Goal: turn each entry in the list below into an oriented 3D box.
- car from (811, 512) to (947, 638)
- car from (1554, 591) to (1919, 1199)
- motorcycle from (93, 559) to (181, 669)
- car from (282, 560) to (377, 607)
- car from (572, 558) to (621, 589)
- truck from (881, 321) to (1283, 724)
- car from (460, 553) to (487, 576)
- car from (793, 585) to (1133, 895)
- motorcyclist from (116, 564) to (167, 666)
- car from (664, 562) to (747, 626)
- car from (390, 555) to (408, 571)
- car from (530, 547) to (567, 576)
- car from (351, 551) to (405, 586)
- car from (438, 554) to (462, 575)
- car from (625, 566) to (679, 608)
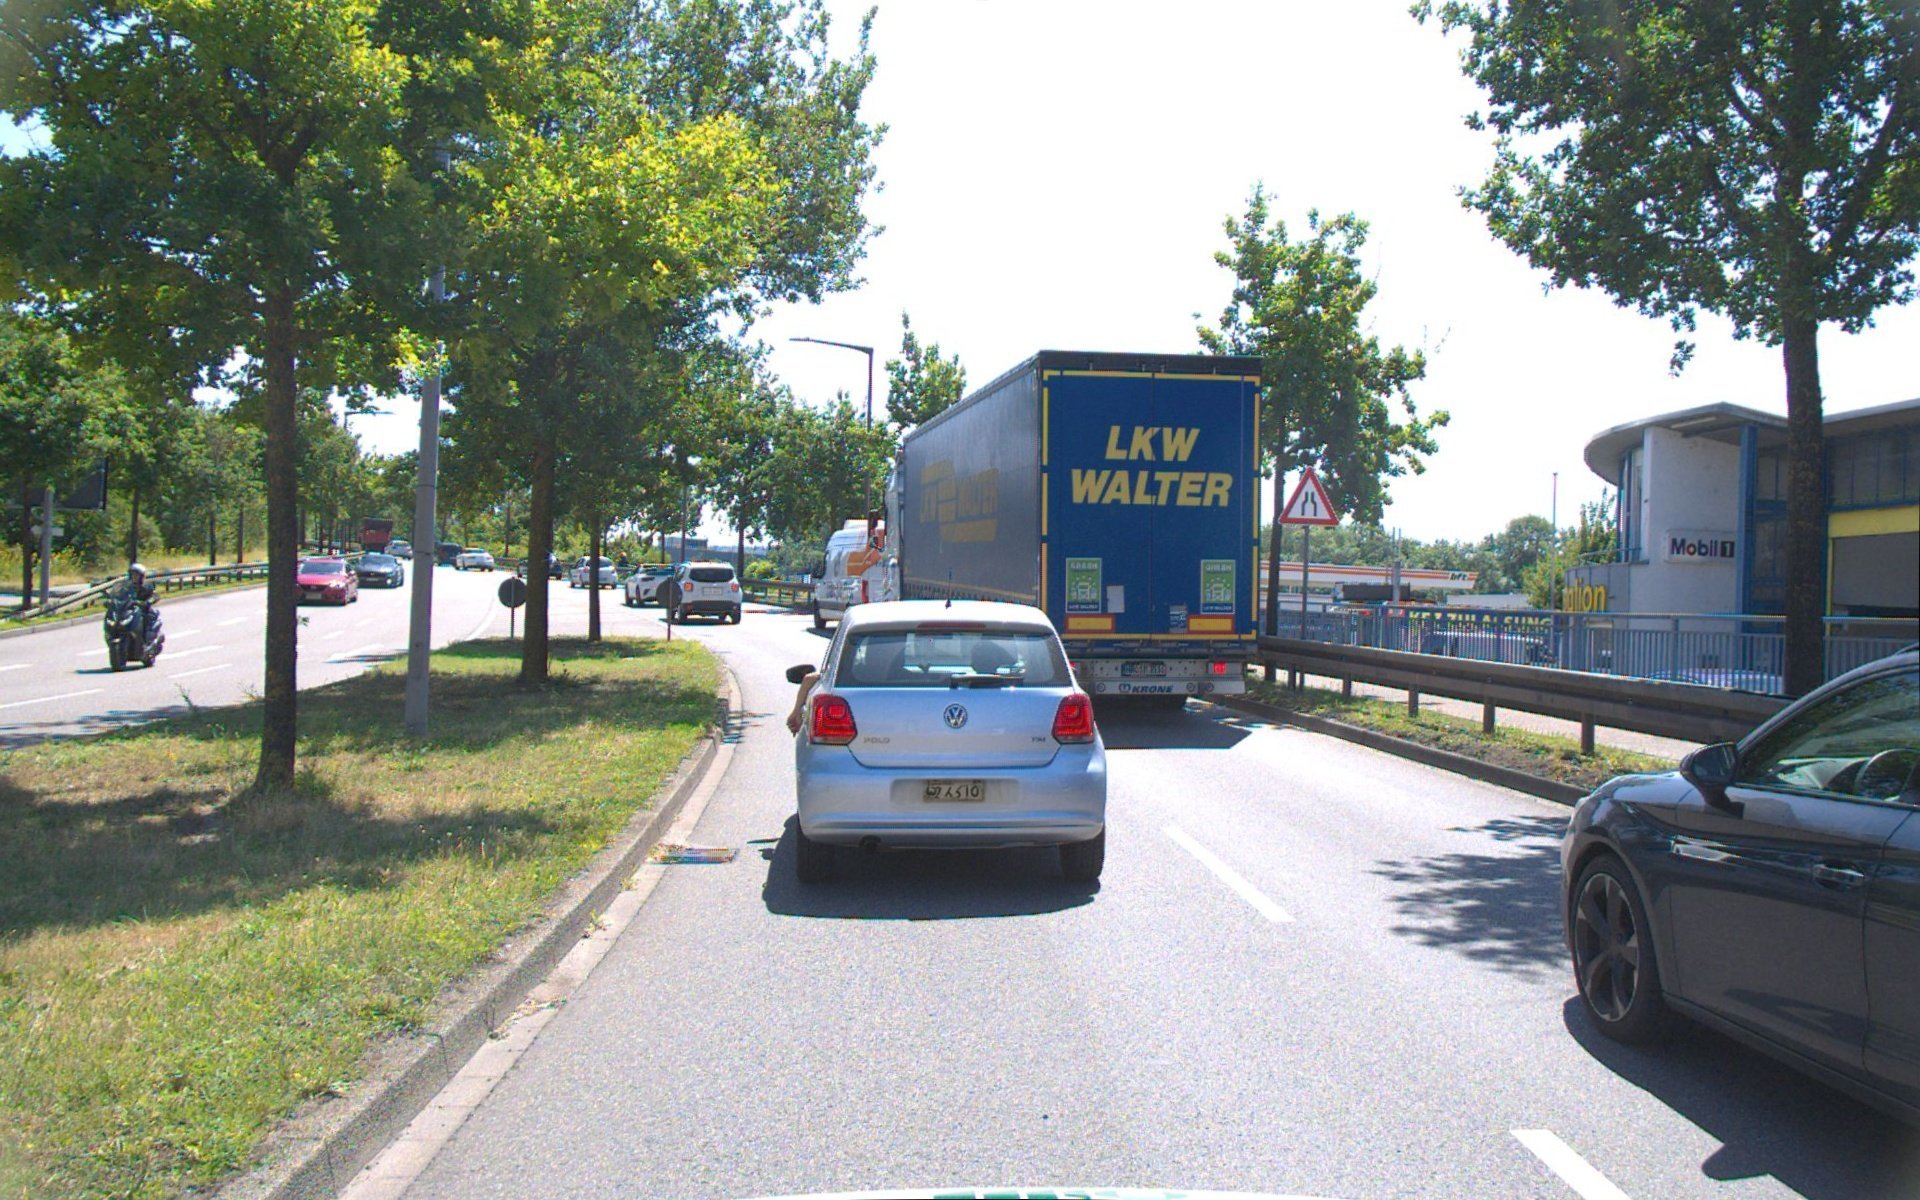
[{"bbox_3d":[-2.187,-0.687,42.433,2.140,2.951,6.333,1,1,-15],"label":"car"},{"bbox_3d":[3.133,0.733,4.121,1.573,1.481,4.232,1,0,-3],"label":"car"},{"bbox_3d":[-13.464,0.220,27.122,0.587,1.707,2.419,1,0,-10],"label":"motorcycle"},{"bbox_3d":[-20.840,-0.505,54.843,1.795,1.462,4.520,-1,0,-6],"label":"car"},{"bbox_3d":[-17.141,-1.247,77.876,1.587,1.383,3.636,1,1,-24],"label":"car"},{"bbox_3d":[0.954,-0.899,25.982,2.780,4.271,16.444,1,0,-8],"label":"truck"},{"bbox_3d":[-30.552,-2.239,103.862,1.435,1.337,3.617,1,0,-19],"label":"car"},{"bbox_3d":[-0.010,0.683,9.743,1.612,1.464,3.536,1,0,-1],"label":"car"},{"bbox_3d":[-13.506,0.241,27.310,0.576,1.655,0.561,1,-1,-9],"label":"motorcyclist"},{"bbox_3d":[-7.413,-0.162,47.851,1.872,1.748,4.205,1,0,-16],"label":"car"},{"bbox_3d":[-45.671,-2.991,134.591,1.302,1.158,2.977,1,0,-20],"label":"car"},{"bbox_3d":[-22.832,-2.122,91.790,1.640,1.490,3.560,1,0,-20],"label":"car"},{"bbox_3d":[-24.788,-1.323,70.550,1.779,1.357,4.551,1,0,-15],"label":"car"},{"bbox_3d":[-35.456,-2.446,114.945,1.396,1.337,3.318,1,0,-19],"label":"car"},{"bbox_3d":[-10.829,-0.460,58.060,1.470,1.383,3.646,1,1,-16],"label":"car"}]
